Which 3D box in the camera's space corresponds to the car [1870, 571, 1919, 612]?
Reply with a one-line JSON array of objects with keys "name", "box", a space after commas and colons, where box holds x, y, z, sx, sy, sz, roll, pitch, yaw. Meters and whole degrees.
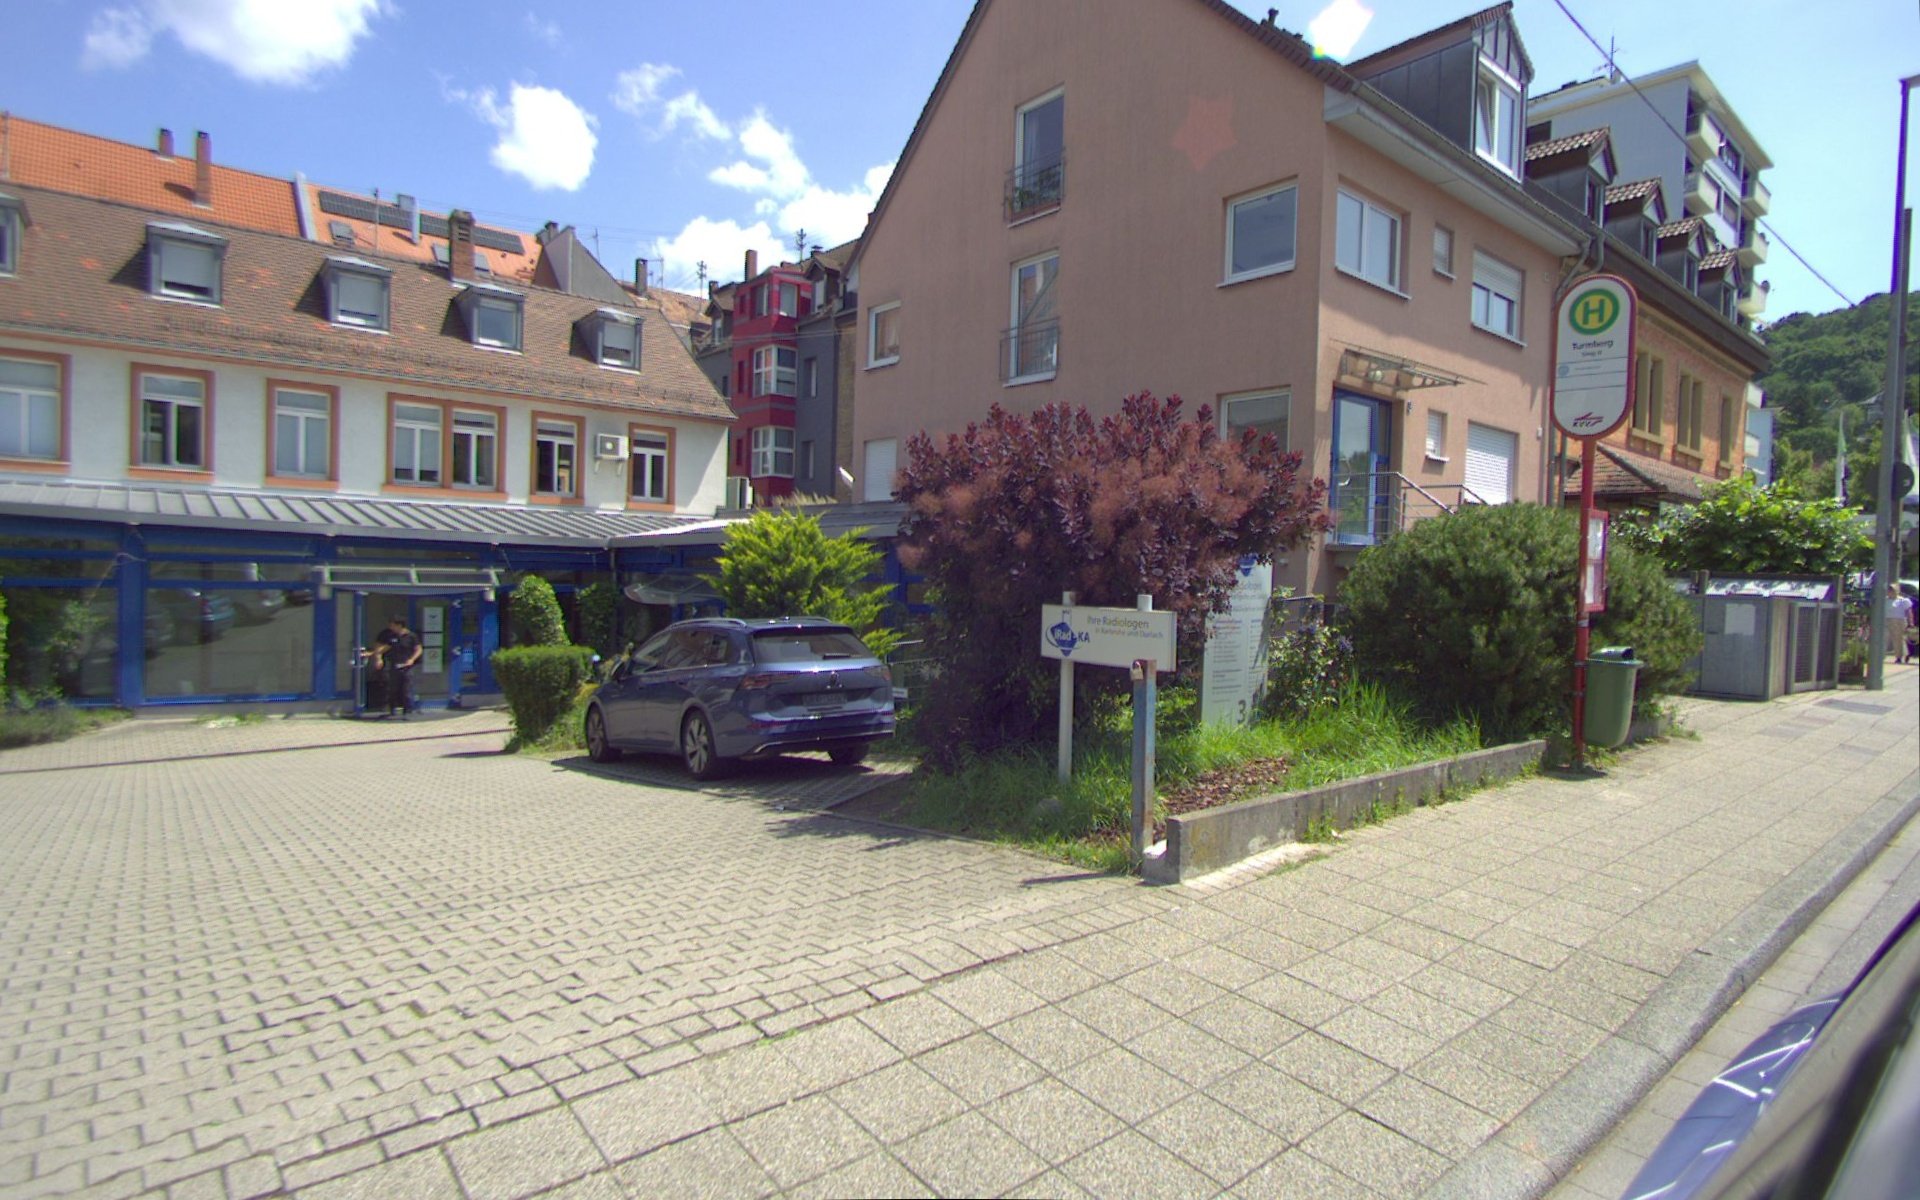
[{"name": "car", "box": [43.917, -0.385, 45.626, 1.788, 1.812, 4.291, -1, 1, -1]}]

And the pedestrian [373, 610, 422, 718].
[{"name": "pedestrian", "box": [-9.808, 1.090, 17.647, 0.675, 1.813, 0.594, -2, 1, -34]}]

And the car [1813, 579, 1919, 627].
[{"name": "car", "box": [32.859, 0.081, 35.874, 3.868, 1.562, 1.818, 2, 3, 38]}]

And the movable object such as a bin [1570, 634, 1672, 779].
[{"name": "movable object such as a bin", "box": [4.812, 0.748, 7.363, 0.717, 0.917, 0.407, -2, 6, -44]}]

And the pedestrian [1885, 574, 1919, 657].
[{"name": "pedestrian", "box": [19.623, 0.324, 20.857, 0.704, 1.662, 0.650, 4, 2, 41]}]

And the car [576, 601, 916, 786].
[{"name": "car", "box": [-2.356, 0.894, 10.237, 1.691, 1.444, 4.140, -1, -4, -38]}]
